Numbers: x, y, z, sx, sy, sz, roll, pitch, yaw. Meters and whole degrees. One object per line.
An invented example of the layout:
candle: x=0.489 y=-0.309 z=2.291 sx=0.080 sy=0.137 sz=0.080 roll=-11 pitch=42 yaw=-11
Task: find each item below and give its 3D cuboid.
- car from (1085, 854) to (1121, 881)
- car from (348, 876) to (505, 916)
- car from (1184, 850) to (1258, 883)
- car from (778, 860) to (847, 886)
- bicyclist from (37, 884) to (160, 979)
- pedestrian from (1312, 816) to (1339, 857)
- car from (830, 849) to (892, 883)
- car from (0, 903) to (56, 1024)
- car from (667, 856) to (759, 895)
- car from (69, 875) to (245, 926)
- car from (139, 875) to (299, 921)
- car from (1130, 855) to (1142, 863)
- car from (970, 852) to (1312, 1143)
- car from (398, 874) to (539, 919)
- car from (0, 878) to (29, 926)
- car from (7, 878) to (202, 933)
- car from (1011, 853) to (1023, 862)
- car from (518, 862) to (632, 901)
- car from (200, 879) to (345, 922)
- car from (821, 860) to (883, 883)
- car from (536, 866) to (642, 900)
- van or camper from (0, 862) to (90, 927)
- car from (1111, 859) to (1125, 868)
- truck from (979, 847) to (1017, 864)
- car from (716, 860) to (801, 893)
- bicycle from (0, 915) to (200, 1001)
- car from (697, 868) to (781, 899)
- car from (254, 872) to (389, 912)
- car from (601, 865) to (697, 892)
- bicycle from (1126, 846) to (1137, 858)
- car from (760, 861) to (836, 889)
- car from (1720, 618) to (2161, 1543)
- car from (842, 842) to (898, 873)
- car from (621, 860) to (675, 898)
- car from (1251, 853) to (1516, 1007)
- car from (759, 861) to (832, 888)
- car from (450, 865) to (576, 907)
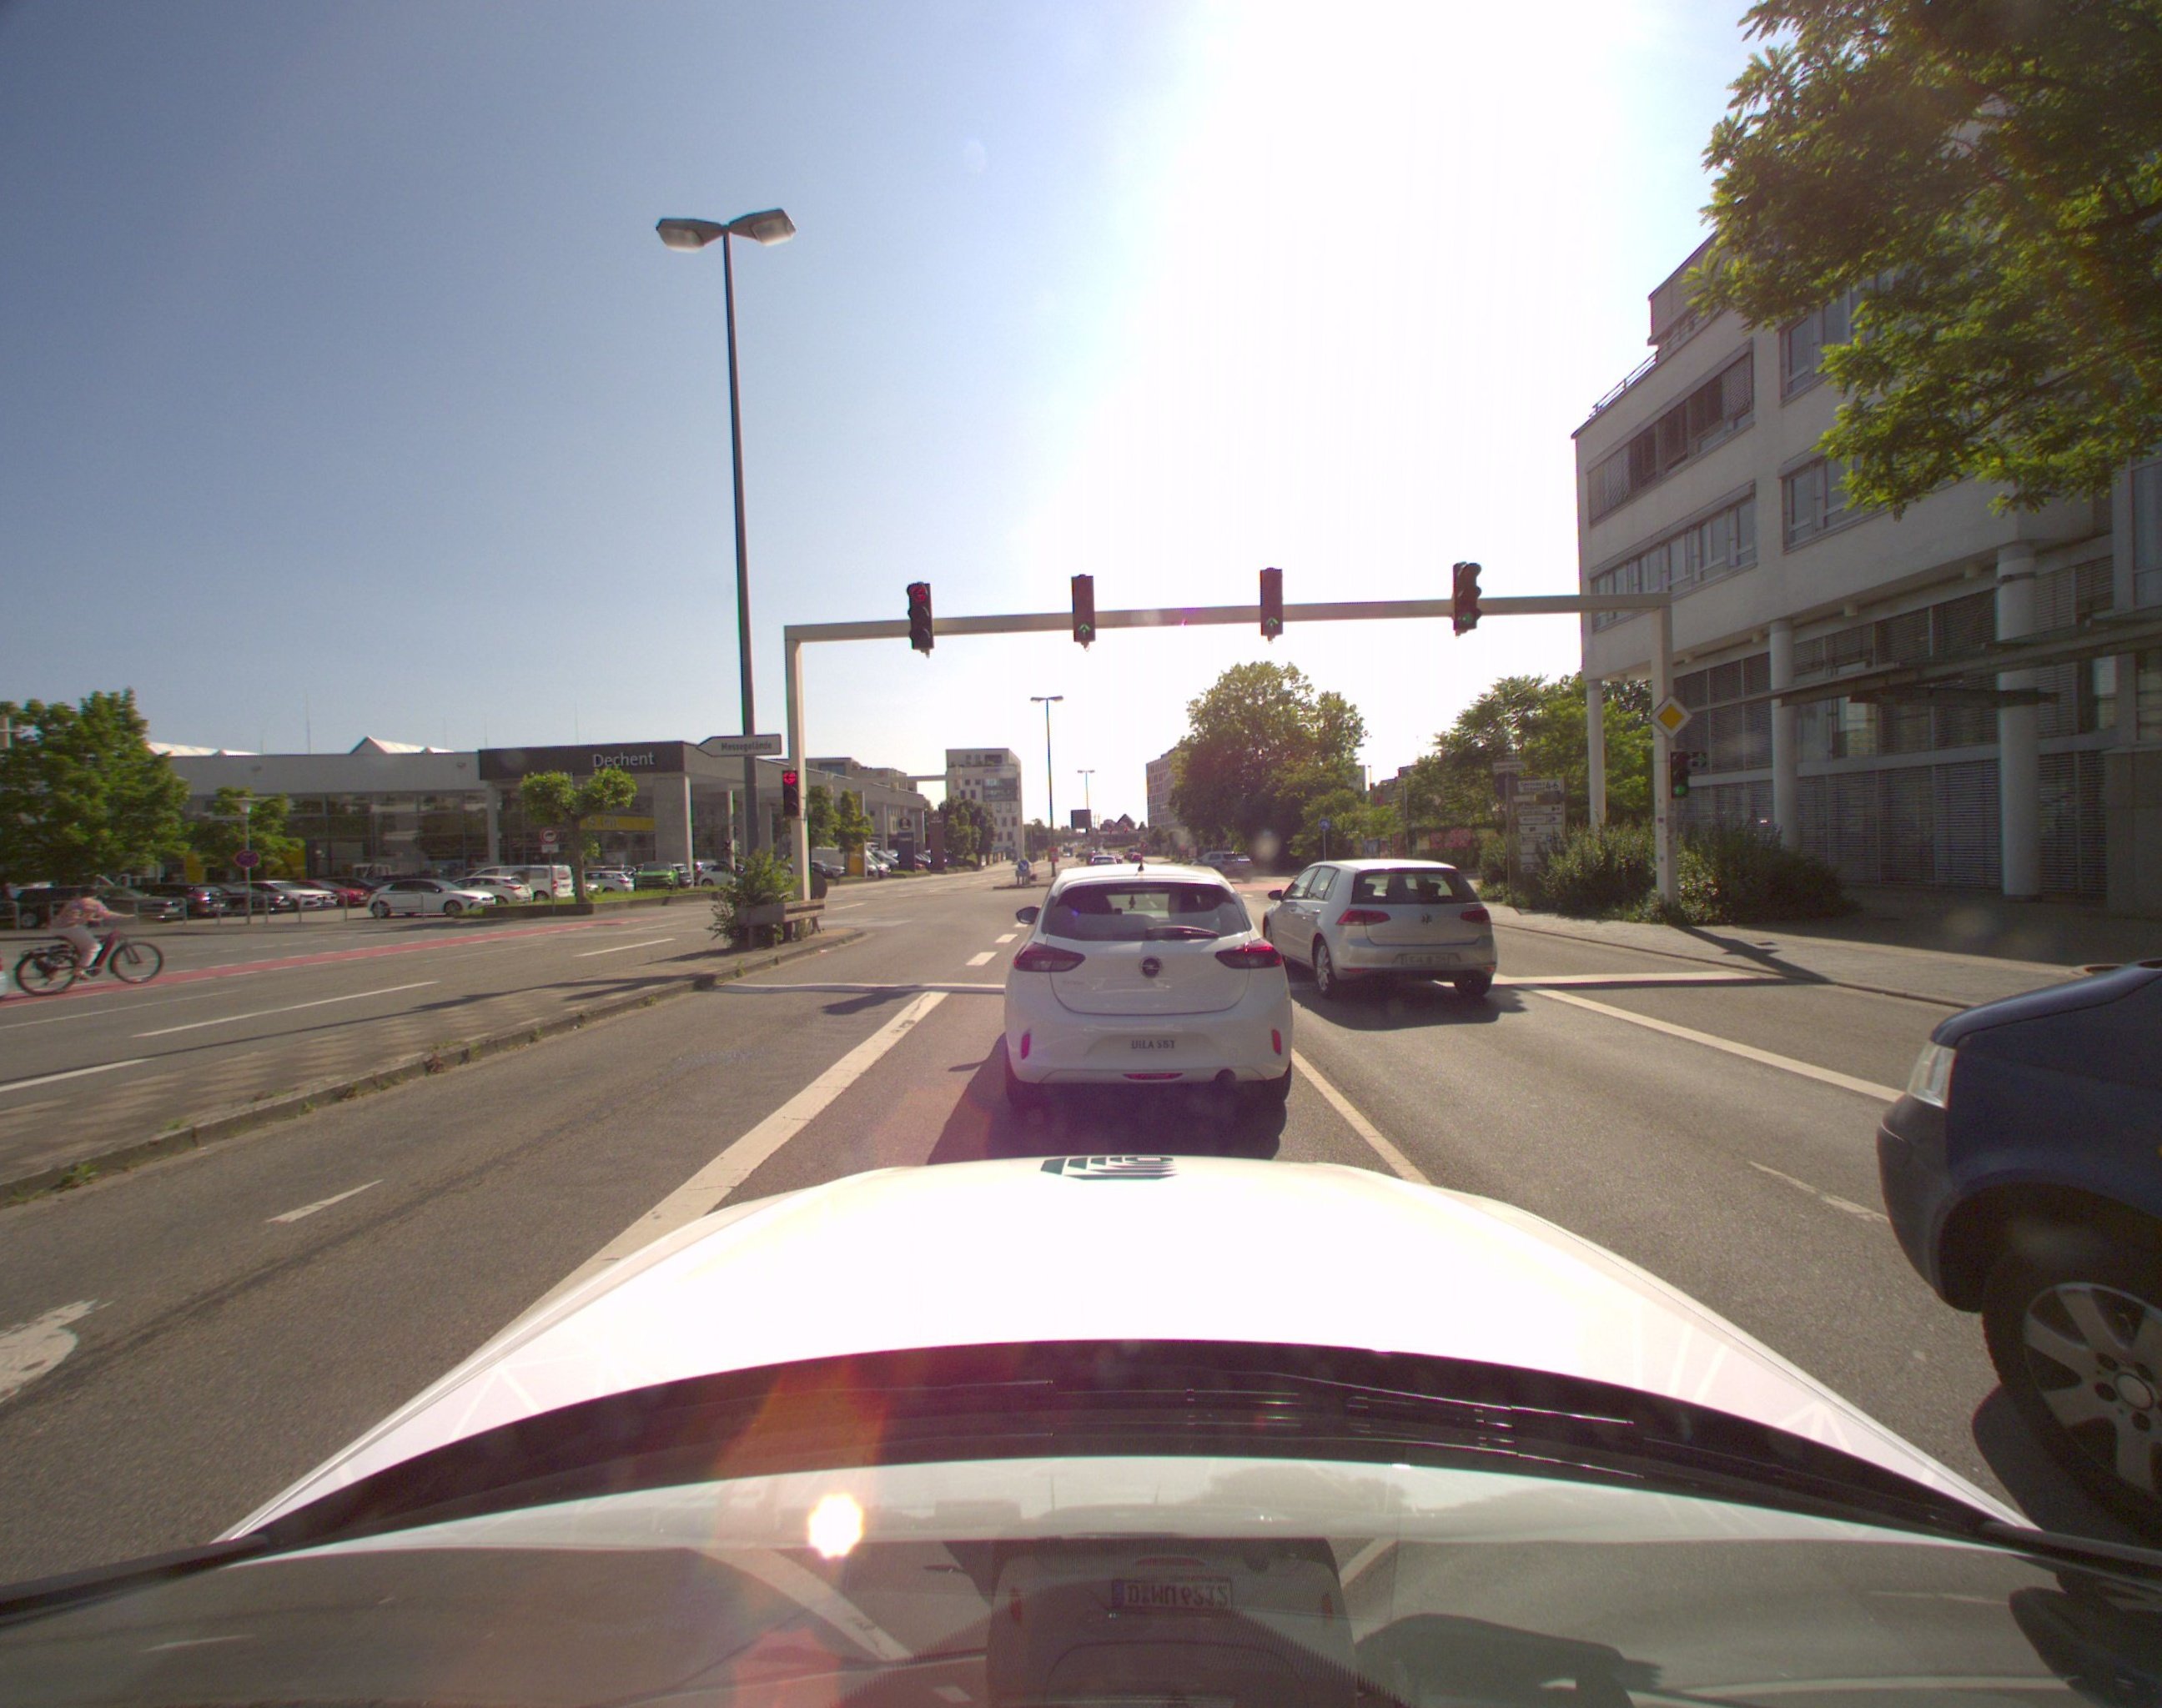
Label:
car: x=1.216 y=0.736 z=47.097 sx=1.987 sy=1.447 sz=4.370 roll=-1 pitch=0 yaw=0
car: x=-25.463 y=1.604 z=31.817 sx=4.348 sy=1.300 sz=1.997 roll=-2 pitch=0 yaw=-4
car: x=7.184 y=0.618 z=42.321 sx=1.999 sy=1.551 sz=4.407 roll=-2 pitch=0 yaw=-17
car: x=-19.761 y=1.404 z=60.131 sx=4.344 sy=1.696 sz=1.999 roll=-2 pitch=0 yaw=-1
bicyclist: x=-16.280 y=1.263 z=13.524 sx=0.763 sy=1.460 sz=1.030 roll=-2 pitch=0 yaw=9
pedestrian: x=12.403 y=-0.893 z=41.375 sx=1.023 sy=2.013 sz=1.039 roll=-2 pitch=0 yaw=1
car: x=-18.441 y=0.981 z=68.301 sx=4.469 sy=2.684 sz=2.134 roll=-2 pitch=0 yaw=10
car: x=-14.074 y=1.381 z=8.480 sx=1.766 sy=1.438 sz=3.916 roll=-2 pitch=0 yaw=1
car: x=-19.242 y=1.118 z=42.726 sx=3.859 sy=1.837 sz=1.999 roll=-2 pitch=0 yaw=-1
car: x=-36.116 y=1.782 z=31.957 sx=4.348 sy=1.696 sz=1.997 roll=-2 pitch=0 yaw=-4
car: x=-36.102 y=1.816 z=34.219 sx=4.348 sy=1.696 sz=1.997 roll=-2 pitch=0 yaw=-4
car: x=9.117 y=0.826 z=135.076 sx=1.799 sy=1.386 sz=4.001 roll=0 pitch=-1 yaw=2
car: x=0.375 y=0.767 z=6.336 sx=1.773 sy=1.494 sz=4.001 roll=-2 pitch=0 yaw=2
car: x=-26.196 y=1.796 z=34.966 sx=4.348 sy=1.696 sz=1.997 roll=-2 pitch=0 yaw=-4
car: x=-40.526 y=1.800 z=28.316 sx=4.371 sy=1.696 sz=1.987 roll=-2 pitch=0 yaw=-20
car: x=-35.141 y=1.833 z=29.430 sx=4.348 sy=1.696 sz=1.997 roll=-2 pitch=0 yaw=-4
car: x=-11.180 y=0.627 z=142.575 sx=1.799 sy=1.386 sz=4.001 roll=0 pitch=-1 yaw=2
car: x=-25.204 y=1.353 z=40.696 sx=4.353 sy=1.696 sz=1.995 roll=-2 pitch=0 yaw=-7
car: x=-36.622 y=2.080 z=36.972 sx=4.348 sy=1.696 sz=1.997 roll=-2 pitch=0 yaw=-4
car: x=-18.476 y=1.378 z=65.849 sx=4.340 sy=1.696 sz=2.001 roll=-2 pitch=0 yaw=2
car: x=-26.230 y=1.524 z=43.525 sx=4.352 sy=1.591 sz=1.996 roll=-2 pitch=0 yaw=-7
van or camper: x=-41.937 y=1.589 z=31.300 sx=4.711 sy=2.400 sz=1.995 roll=-2 pitch=0 yaw=-8
car: x=5.618 y=1.501 z=123.666 sx=1.987 sy=1.331 sz=3.998 roll=0 pitch=-1 yaw=-1
truck: x=-20.248 y=0.300 z=198.719 sx=9.055 sy=3.834 sz=3.073 roll=-2 pitch=0 yaw=-8
car: x=-19.583 y=1.361 z=49.588 sx=4.284 sy=1.765 sz=1.999 roll=-2 pitch=0 yaw=-1
bicycle: x=-16.268 y=1.674 z=13.500 sx=0.763 sy=1.116 sz=2.167 roll=-3 pitch=0 yaw=10
car: x=-19.666 y=1.668 z=46.938 sx=3.981 sy=1.599 sz=1.996 roll=-2 pitch=0 yaw=-6
car: x=-36.604 y=1.799 z=39.371 sx=4.352 sy=1.696 sz=1.995 roll=-2 pitch=0 yaw=-7
car: x=-24.685 y=1.402 z=46.630 sx=4.352 sy=1.268 sz=1.995 roll=-3 pitch=-2 yaw=-7
bicycle: x=9.652 y=-0.316 z=155.514 sx=1.986 sy=2.157 sz=4.001 roll=-2 pitch=0 yaw=1
car: x=-18.959 y=1.386 z=54.656 sx=4.343 sy=1.696 sz=1.999 roll=-2 pitch=0 yaw=-1
car: x=3.213 y=0.442 z=0.411 sx=1.986 sy=1.948 sz=4.893 roll=-2 pitch=-1 yaw=2
car: x=-19.063 y=0.316 z=73.636 sx=4.334 sy=2.601 sz=2.004 roll=-2 pitch=0 yaw=6
car: x=-21.238 y=1.240 z=39.905 sx=1.915 sy=1.733 sz=3.258 roll=-2 pitch=-1 yaw=-35
car: x=3.352 y=0.757 z=9.910 sx=1.800 sy=1.429 sz=4.001 roll=-2 pitch=-1 yaw=2
car: x=-19.894 y=1.413 z=56.909 sx=4.344 sy=1.696 sz=1.999 roll=-2 pitch=0 yaw=-1
car: x=-26.486 y=1.461 z=38.107 sx=4.353 sy=1.696 sz=1.995 roll=-2 pitch=0 yaw=-7
